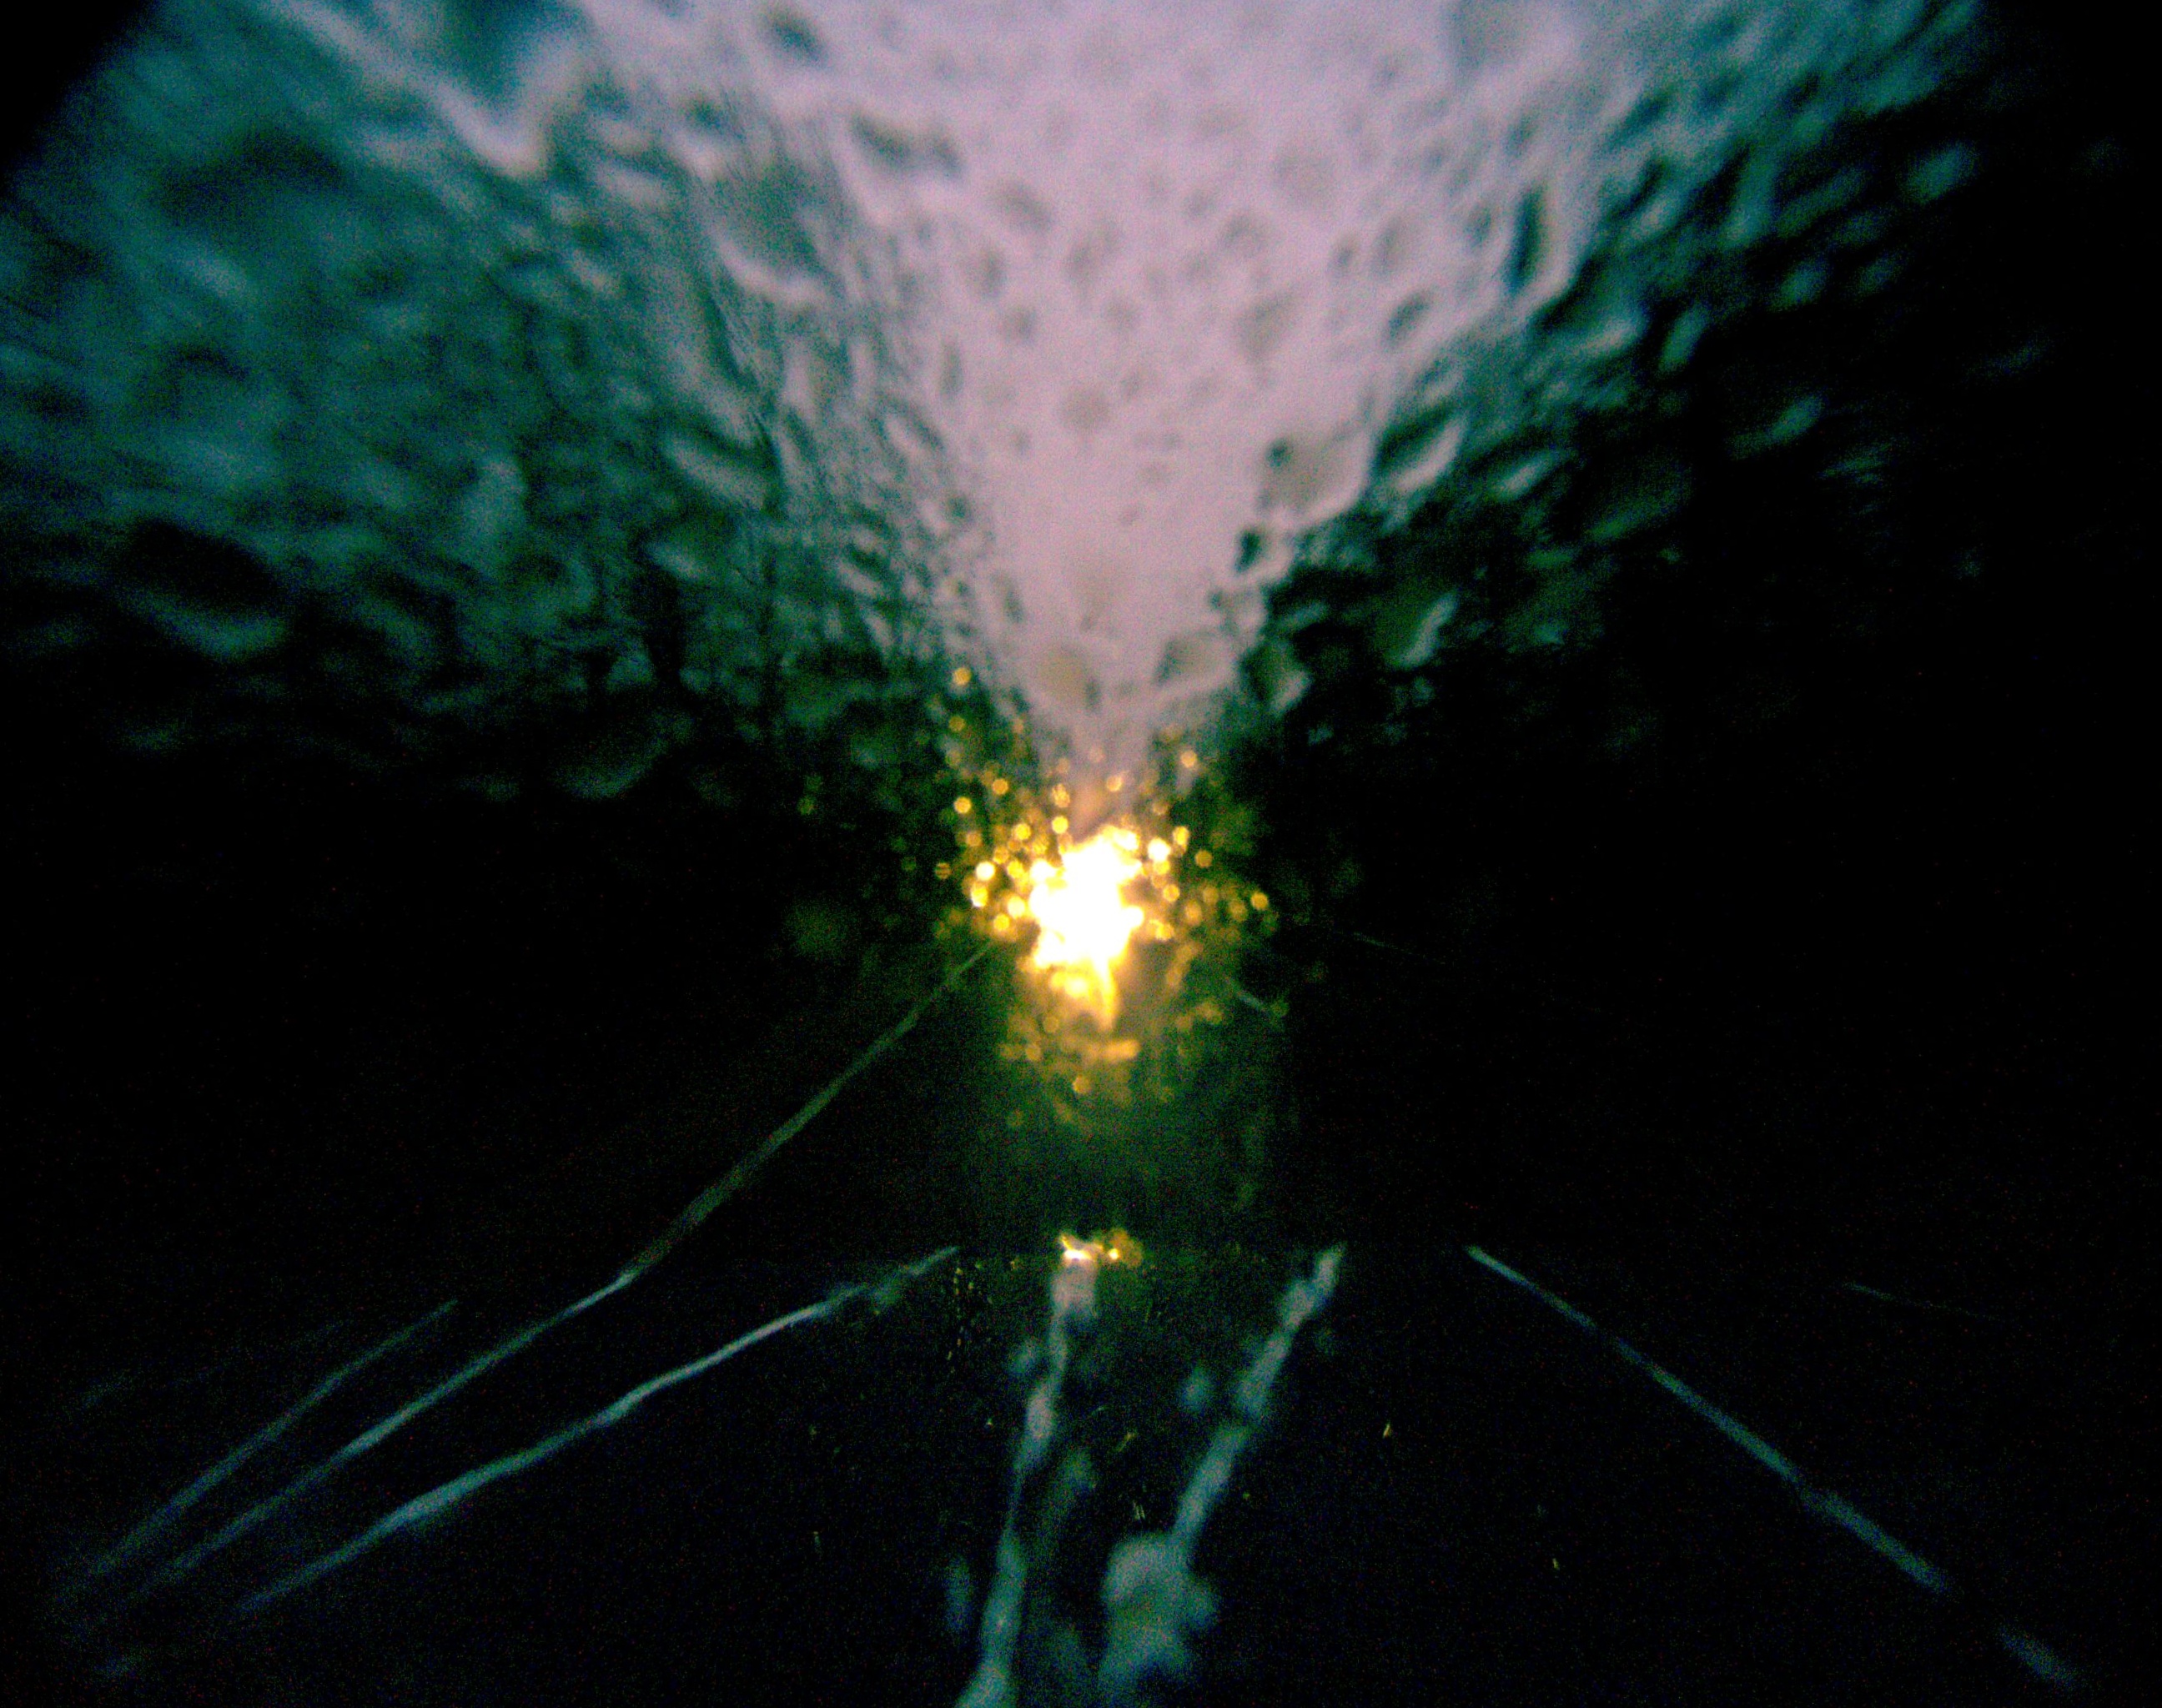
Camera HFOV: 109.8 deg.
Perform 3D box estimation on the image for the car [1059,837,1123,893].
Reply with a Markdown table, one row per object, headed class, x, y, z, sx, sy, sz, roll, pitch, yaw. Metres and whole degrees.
| class | x | y | z | sx | sy | sz | roll | pitch | yaw |
| --- | --- | --- | --- | --- | --- | --- | --- | --- | --- |
| car | 0.488 | 0.407 | 34.159 | 2.542 | 2.213 | 6.169 | -2 | 1 | 1 |
